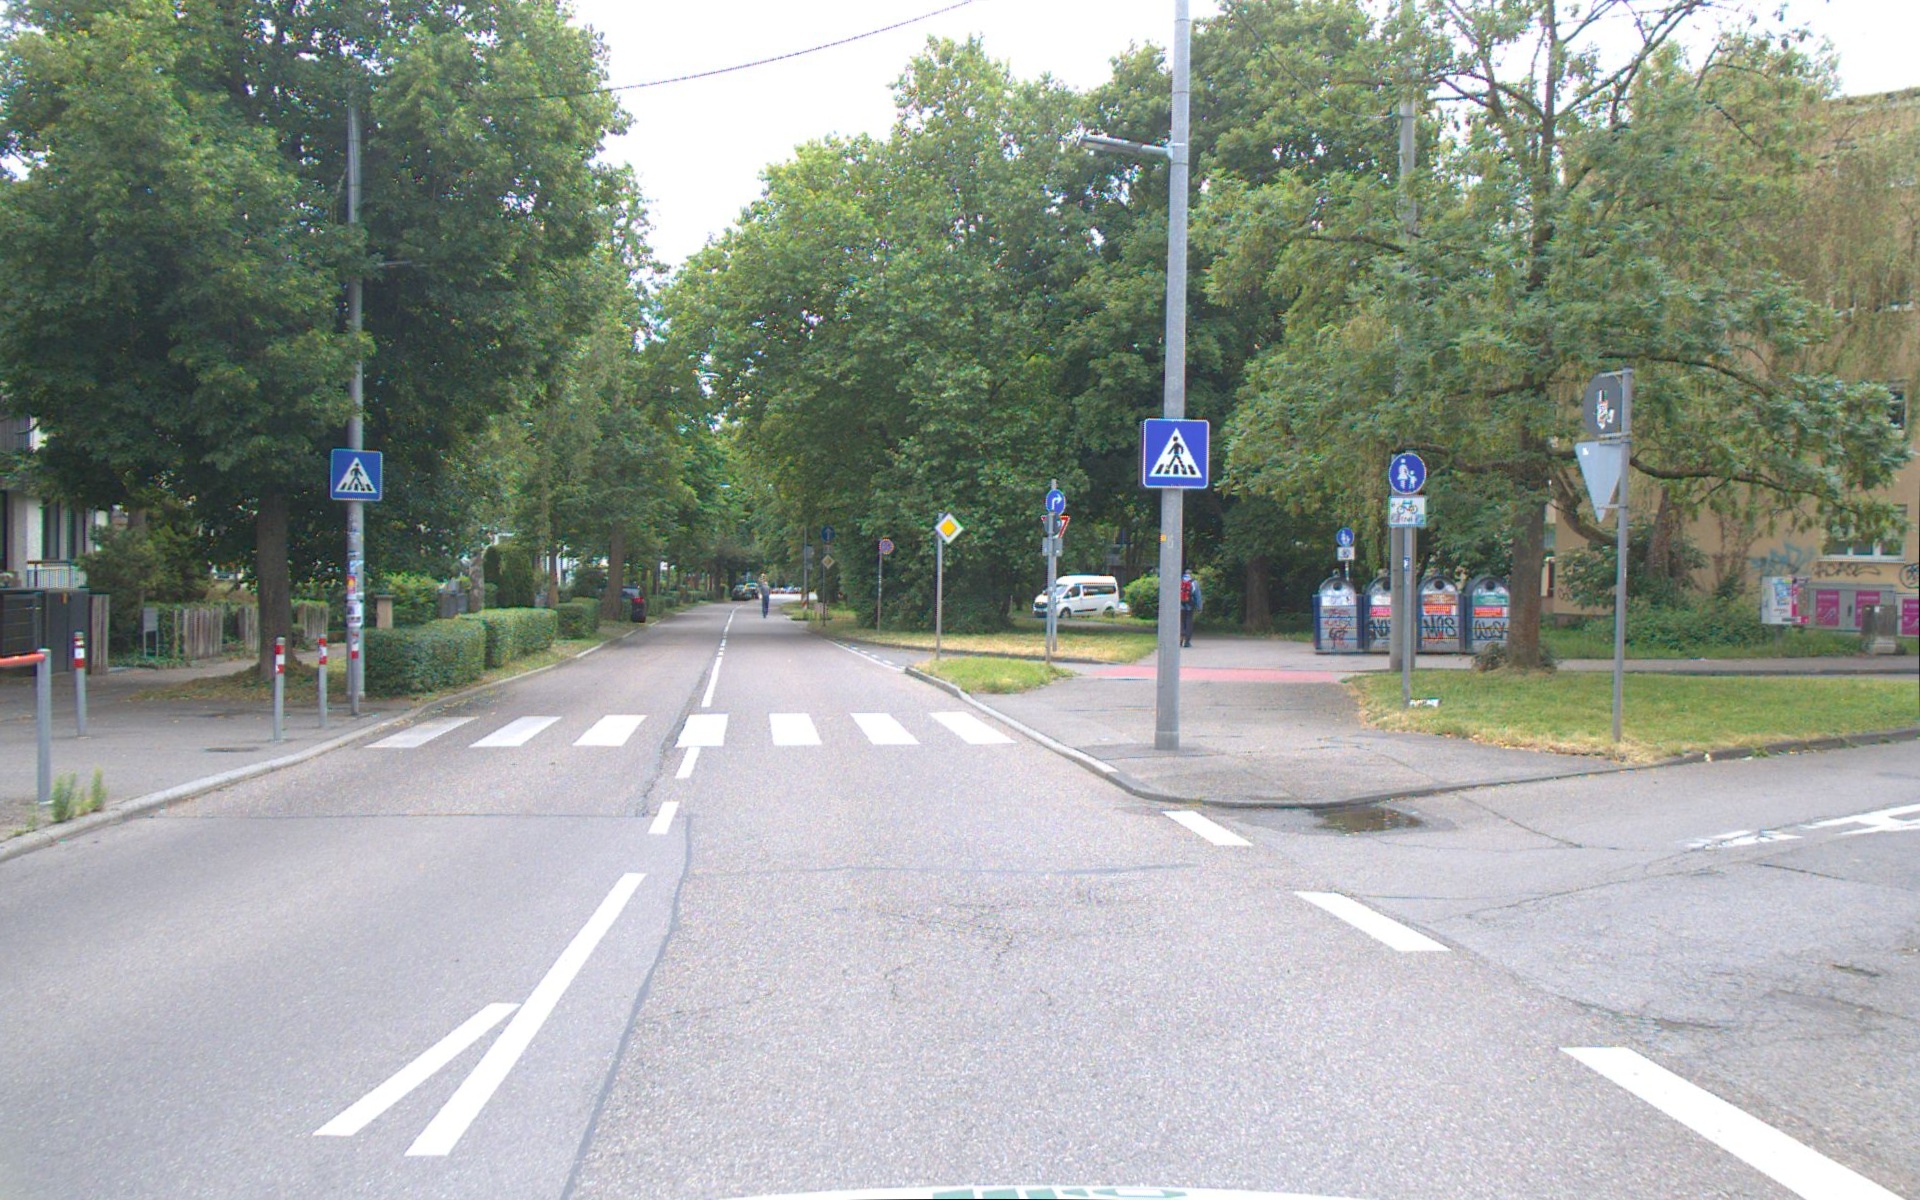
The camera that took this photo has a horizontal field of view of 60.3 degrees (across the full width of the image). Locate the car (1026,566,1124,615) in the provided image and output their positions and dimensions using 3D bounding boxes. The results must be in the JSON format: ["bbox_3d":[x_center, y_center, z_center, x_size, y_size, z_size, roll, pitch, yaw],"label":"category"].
[{"bbox_3d":[6.179,-0.493,88.556,5.341,2.336,2.105,2,2,-43],"label":"car"}]

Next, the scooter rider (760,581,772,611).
[{"bbox_3d":[-10.433,-0.234,88.910,0.589,1.579,0.565,-1,2,-5],"label":"scooter rider"}]

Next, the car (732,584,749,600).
[{"bbox_3d":[-24.216,-0.917,182.207,1.800,1.524,3.650,3,2,-8],"label":"car"}]

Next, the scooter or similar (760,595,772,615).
[{"bbox_3d":[-10.414,0.271,88.775,0.589,1.073,0.872,-1,2,-5],"label":"scooter or similar"}]

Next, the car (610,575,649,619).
[{"bbox_3d":[-14.915,-0.146,74.669,1.613,1.754,3.790,3,2,-11],"label":"car"}]

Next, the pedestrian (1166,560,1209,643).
[{"bbox_3d":[5.516,0.027,40.127,0.904,1.903,1.020,-3,3,5],"label":"pedestrian"}]
